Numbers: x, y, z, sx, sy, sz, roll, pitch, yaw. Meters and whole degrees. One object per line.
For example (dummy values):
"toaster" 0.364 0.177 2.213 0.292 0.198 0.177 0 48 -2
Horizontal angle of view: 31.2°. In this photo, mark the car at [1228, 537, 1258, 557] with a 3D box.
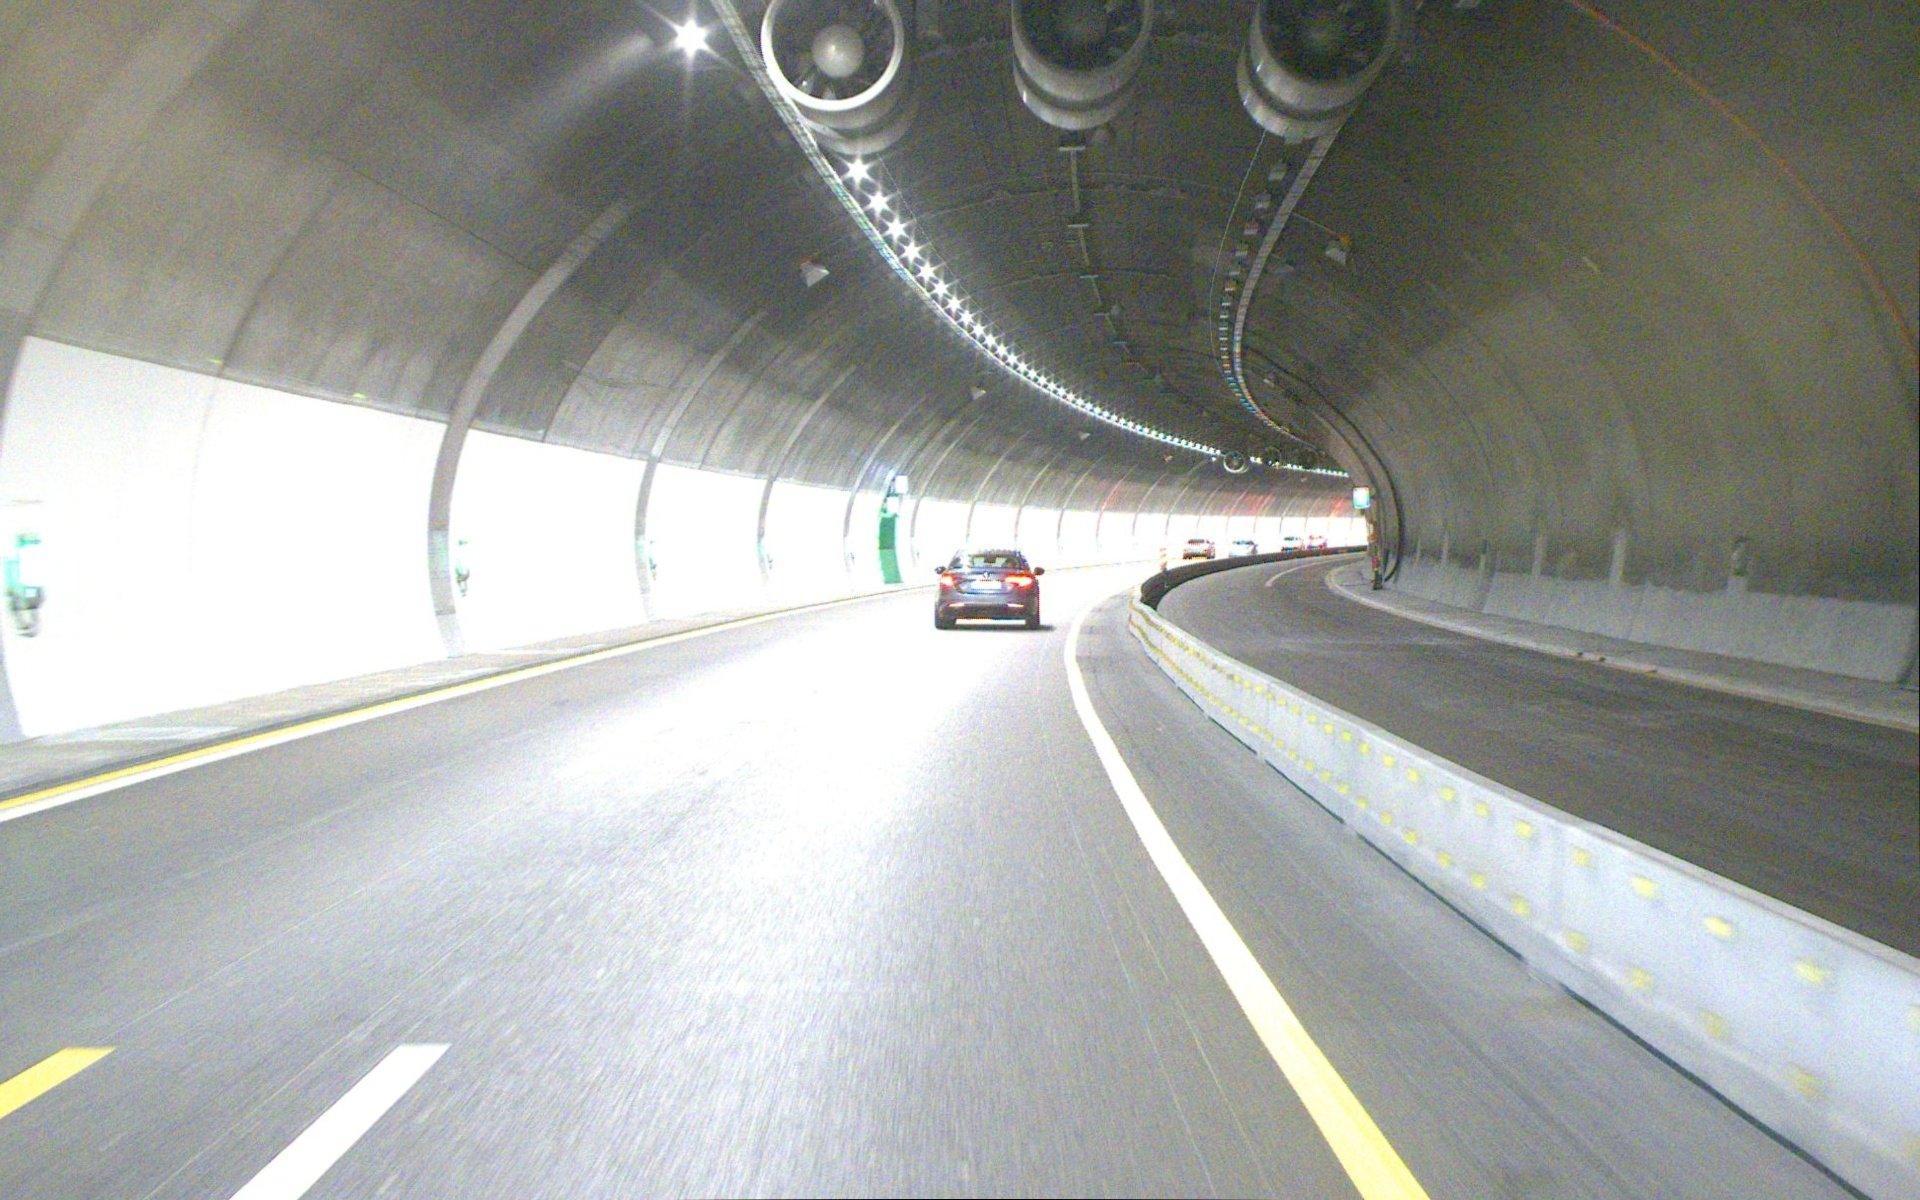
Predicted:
"car" 18.829 -3.536 228.319 1.596 1.328 3.749 0 1 11

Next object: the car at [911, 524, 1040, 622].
"car" 0.317 -0.511 62.035 2.141 1.700 4.000 0 1 3

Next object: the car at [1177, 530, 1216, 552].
"car" 16.180 -4.021 235.095 2.166 1.481 3.998 0 1 10
